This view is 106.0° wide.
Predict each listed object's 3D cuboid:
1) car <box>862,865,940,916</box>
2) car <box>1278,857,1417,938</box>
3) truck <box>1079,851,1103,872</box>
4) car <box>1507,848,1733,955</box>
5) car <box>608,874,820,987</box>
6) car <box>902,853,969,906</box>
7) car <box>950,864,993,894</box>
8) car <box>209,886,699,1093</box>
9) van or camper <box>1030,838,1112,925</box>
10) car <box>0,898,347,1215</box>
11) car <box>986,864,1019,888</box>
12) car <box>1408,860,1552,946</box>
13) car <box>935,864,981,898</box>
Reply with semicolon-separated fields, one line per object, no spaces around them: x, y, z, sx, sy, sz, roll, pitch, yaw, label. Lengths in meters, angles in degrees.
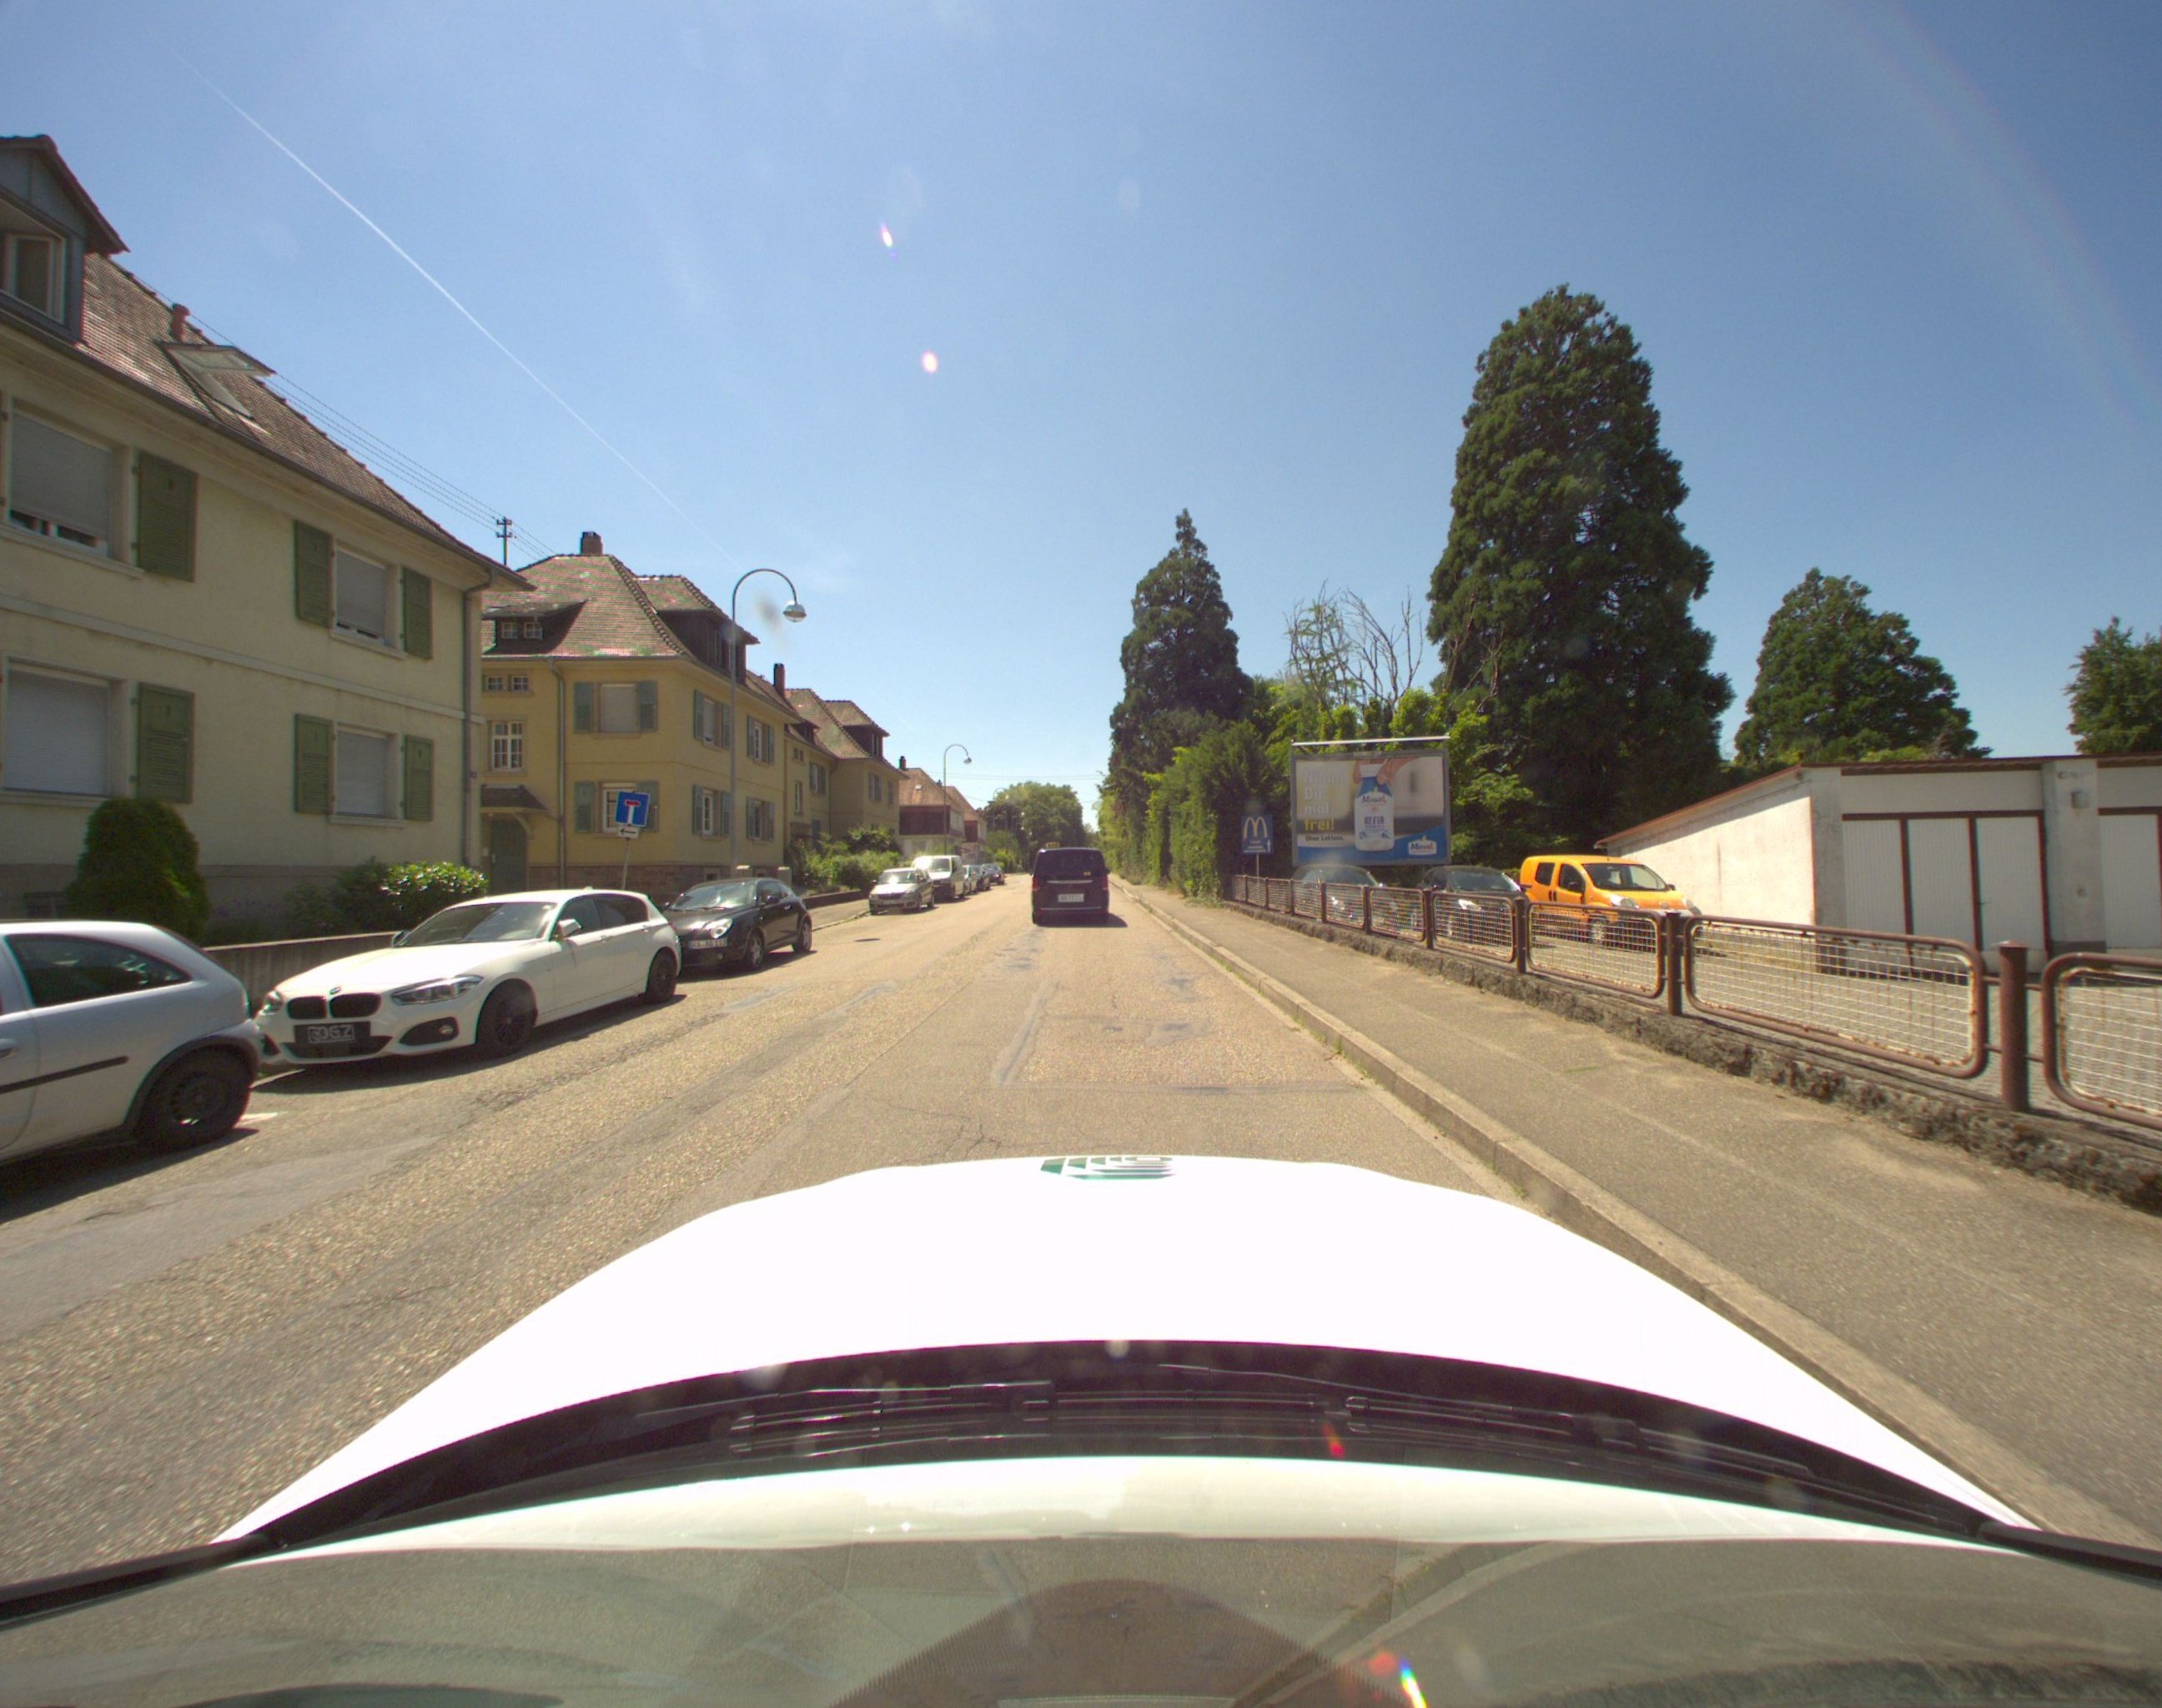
-6.060;1.188;27.864;1.681;1.525;4.062;-2;0;0;car
5.473;0.845;17.174;1.627;1.459;3.553;2;-1;-2;car
1.102;0.903;96.608;2.351;2.258;6.083;-1;-1;-4;truck
10.589;0.865;16.435;1.769;1.800;4.164;2;-1;0;car
-5.888;1.141;13.657;1.711;1.485;4.073;-3;-1;-2;car
-5.989;0.996;34.144;1.872;1.963;4.624;-4;0;0;car
-5.860;1.295;43.969;1.661;1.493;4.464;-1;0;0;car
-5.828;1.126;8.398;1.789;1.402;4.216;-3;-1;-1;car
-0.229;0.672;21.476;1.896;2.014;5.269;0;-1;0;van or camper
-6.071;1.046;3.780;1.754;1.447;3.922;-3;-1;-1;car
-5.124;1.427;53.684;1.660;1.386;4.380;-3;0;1;car
8.168;0.944;16.985;1.623;1.543;3.398;2;-1;7;car
-5.967;1.279;39.761;1.661;1.492;3.477;-3;0;0;car
